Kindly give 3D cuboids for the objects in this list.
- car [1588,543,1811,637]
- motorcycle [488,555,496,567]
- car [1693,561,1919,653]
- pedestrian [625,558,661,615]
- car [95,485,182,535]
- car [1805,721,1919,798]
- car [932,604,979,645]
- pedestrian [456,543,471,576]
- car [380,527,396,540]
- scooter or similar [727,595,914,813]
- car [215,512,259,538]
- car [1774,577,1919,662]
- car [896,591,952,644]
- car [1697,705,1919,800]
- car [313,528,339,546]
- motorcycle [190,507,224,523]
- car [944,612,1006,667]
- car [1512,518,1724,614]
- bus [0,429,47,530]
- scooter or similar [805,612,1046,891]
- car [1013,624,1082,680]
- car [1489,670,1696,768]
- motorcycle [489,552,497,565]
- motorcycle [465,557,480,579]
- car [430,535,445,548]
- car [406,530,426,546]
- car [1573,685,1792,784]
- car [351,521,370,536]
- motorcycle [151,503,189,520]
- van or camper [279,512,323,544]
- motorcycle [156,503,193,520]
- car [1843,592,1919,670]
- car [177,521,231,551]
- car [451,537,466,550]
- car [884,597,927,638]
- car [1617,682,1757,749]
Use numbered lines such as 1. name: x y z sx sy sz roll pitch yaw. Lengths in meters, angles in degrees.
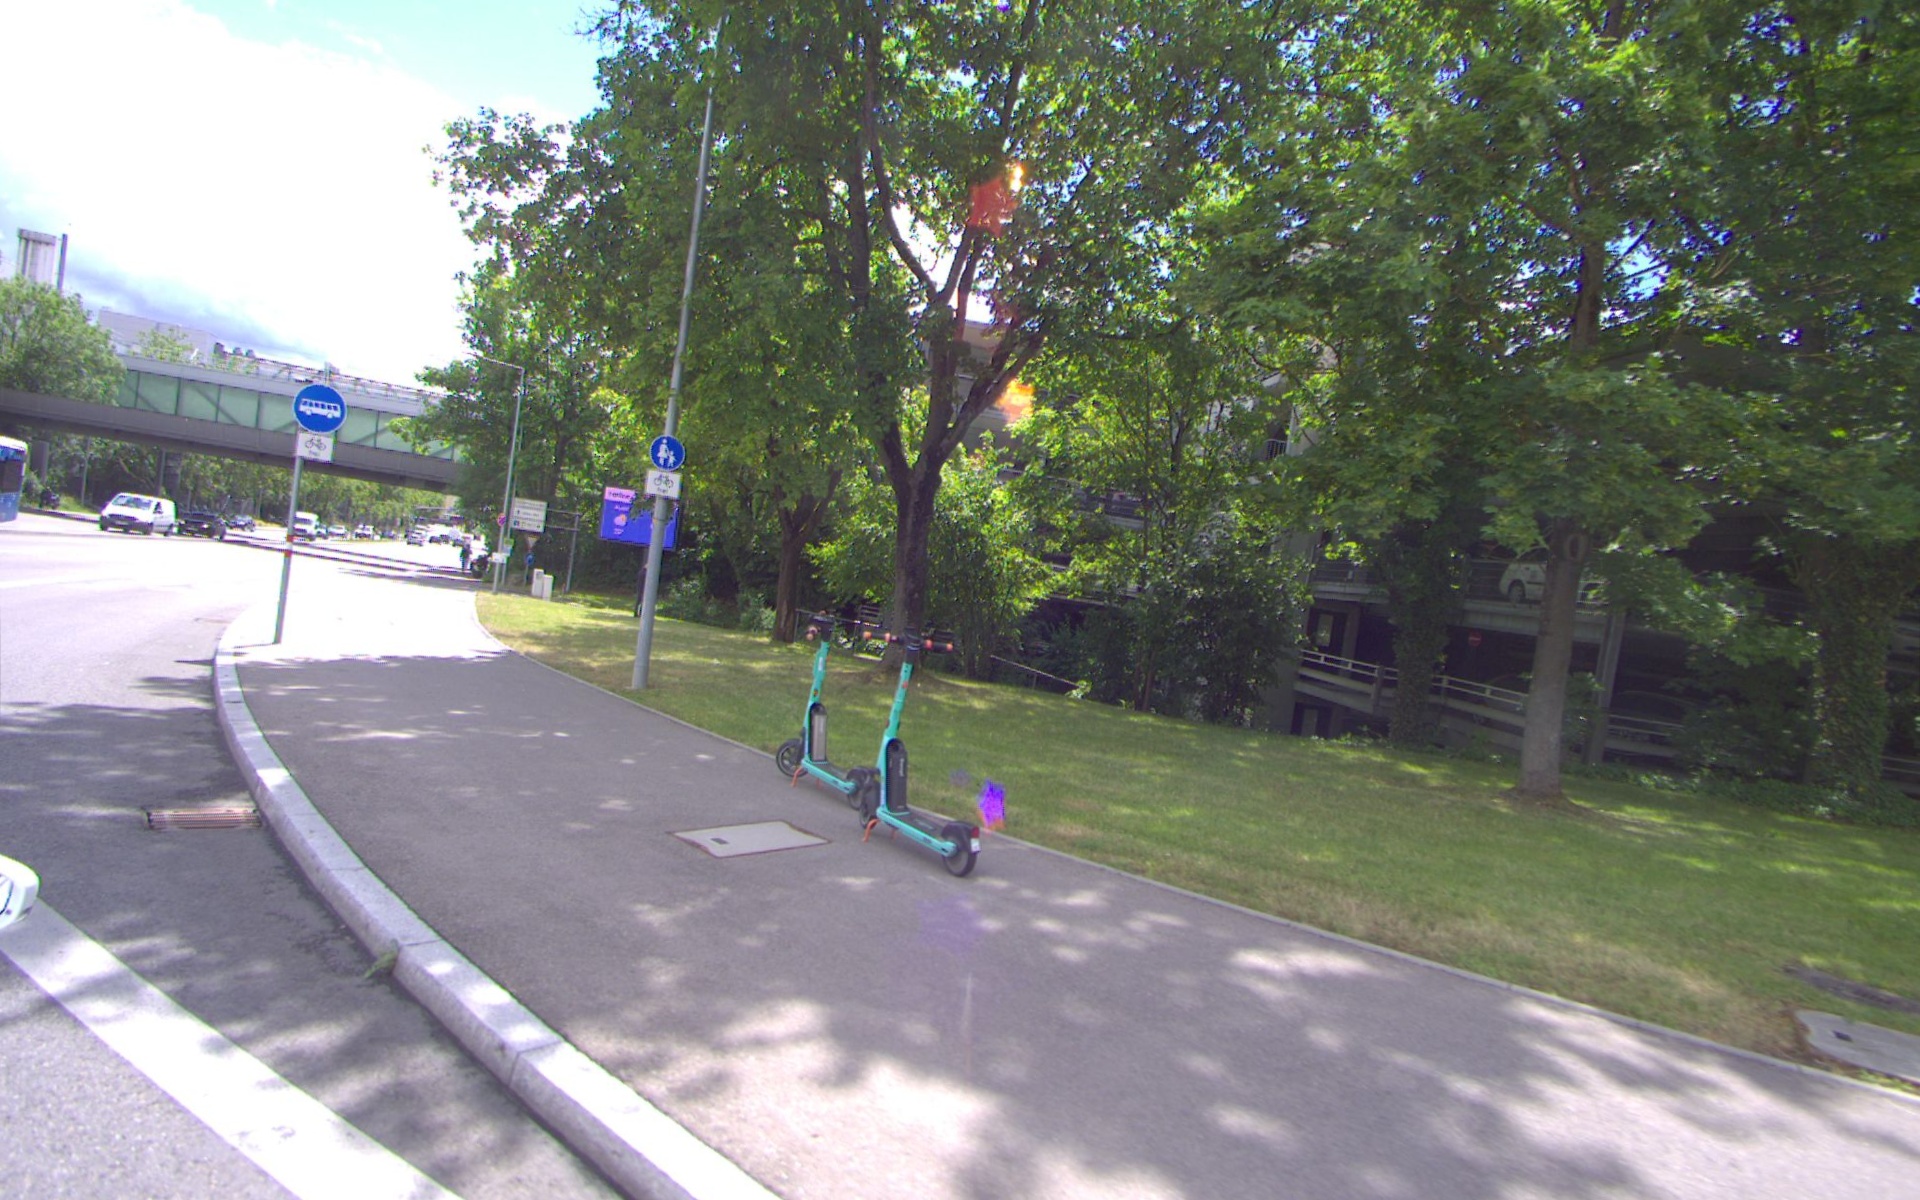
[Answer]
1. car: 15.860 -0.248 21.853 1.698 1.560 3.698 11 1 -4
2. motorcycle: -43.547 -3.633 93.532 0.558 1.042 2.612 6 1 -25
3. car: 18.682 0.094 22.332 1.698 1.560 3.698 11 1 -4
4. pedestrian: -10.387 -0.441 32.940 0.762 1.741 0.588 13 5 38
5. car: -39.812 -4.311 48.893 1.860 1.947 4.722 9 -1 -24
6. car: 22.056 3.847 23.095 1.746 1.308 3.793 10 1 -5
7. car: -0.259 1.132 47.651 1.746 1.490 3.792 9 1 -5
8. pedestrian: -30.503 -2.483 61.834 0.617 1.880 0.867 8 -1 -26
9. car: -90.944 -10.524 159.999 1.686 1.718 3.901 9 -1 -24
10. scooter or similar: -0.983 0.675 6.932 1.174 1.280 0.531 7 1 43
11. car: -64.865 -6.704 90.356 1.972 1.770 3.983 8 -1 -19
12. car: 20.588 0.438 22.296 1.698 1.560 3.698 11 1 -4
13. car: -1.410 0.640 37.376 1.628 1.614 4.389 9 -1 -5
14. car: 19.784 3.493 23.653 1.746 1.308 3.793 10 1 -5
15. car: -66.703 -6.643 105.859 1.686 1.539 3.055 9 -1 -25
16. motorcycle: -75.312 -8.479 100.634 2.545 1.120 0.792 9 0 -13
17. car: 0.502 1.412 37.210 1.746 1.490 3.792 9 1 -5
18. car: 13.954 -0.718 21.621 1.698 1.560 3.698 11 1 -4
19. bus: -31.962 -4.067 30.844 2.790 3.201 8.856 9 -1 -23
20. scooter or similar: -0.219 0.778 5.582 1.174 1.280 0.531 7 1 43
21. car: 3.169 1.887 37.286 1.746 1.490 3.792 9 1 -5
22. car: 13.613 2.512 21.956 1.746 1.308 3.793 10 1 -5
23. motorcycle: -41.451 -3.668 89.334 0.558 1.042 2.612 6 1 -25
24. motorcycle: -27.186 -1.794 56.086 0.542 1.123 2.004 8 -1 -27
25. car: -89.220 -10.008 171.813 1.841 1.729 3.969 8 5 -25
26. car: -76.585 -8.732 141.773 1.912 1.795 3.972 8 4 -24
27. car: 15.764 2.885 22.223 1.746 1.308 3.793 10 1 -5
28. car: -80.035 -9.508 134.325 1.686 1.718 3.899 9 -1 -26
29. motorcycle: -72.178 -8.037 91.905 2.524 1.062 0.671 9 -1 -19
30. van or camper: -60.212 -6.542 91.994 1.989 2.430 6.362 8 -1 -23
31. motorcycle: -72.758 -8.206 93.177 2.524 1.062 0.671 9 -1 -19
32. car: 22.798 0.804 22.909 1.698 1.560 3.698 11 1 -4
33. car: -45.175 -3.824 60.190 1.622 1.488 3.753 9 -1 -24
34. car: -85.963 -9.624 172.613 1.976 1.882 3.975 8 0 -25
35. car: -2.636 0.801 47.966 1.746 1.490 4.133 9 1 -5
36. car: 24.377 3.830 33.899 1.567 1.389 3.775 9 3 -5
